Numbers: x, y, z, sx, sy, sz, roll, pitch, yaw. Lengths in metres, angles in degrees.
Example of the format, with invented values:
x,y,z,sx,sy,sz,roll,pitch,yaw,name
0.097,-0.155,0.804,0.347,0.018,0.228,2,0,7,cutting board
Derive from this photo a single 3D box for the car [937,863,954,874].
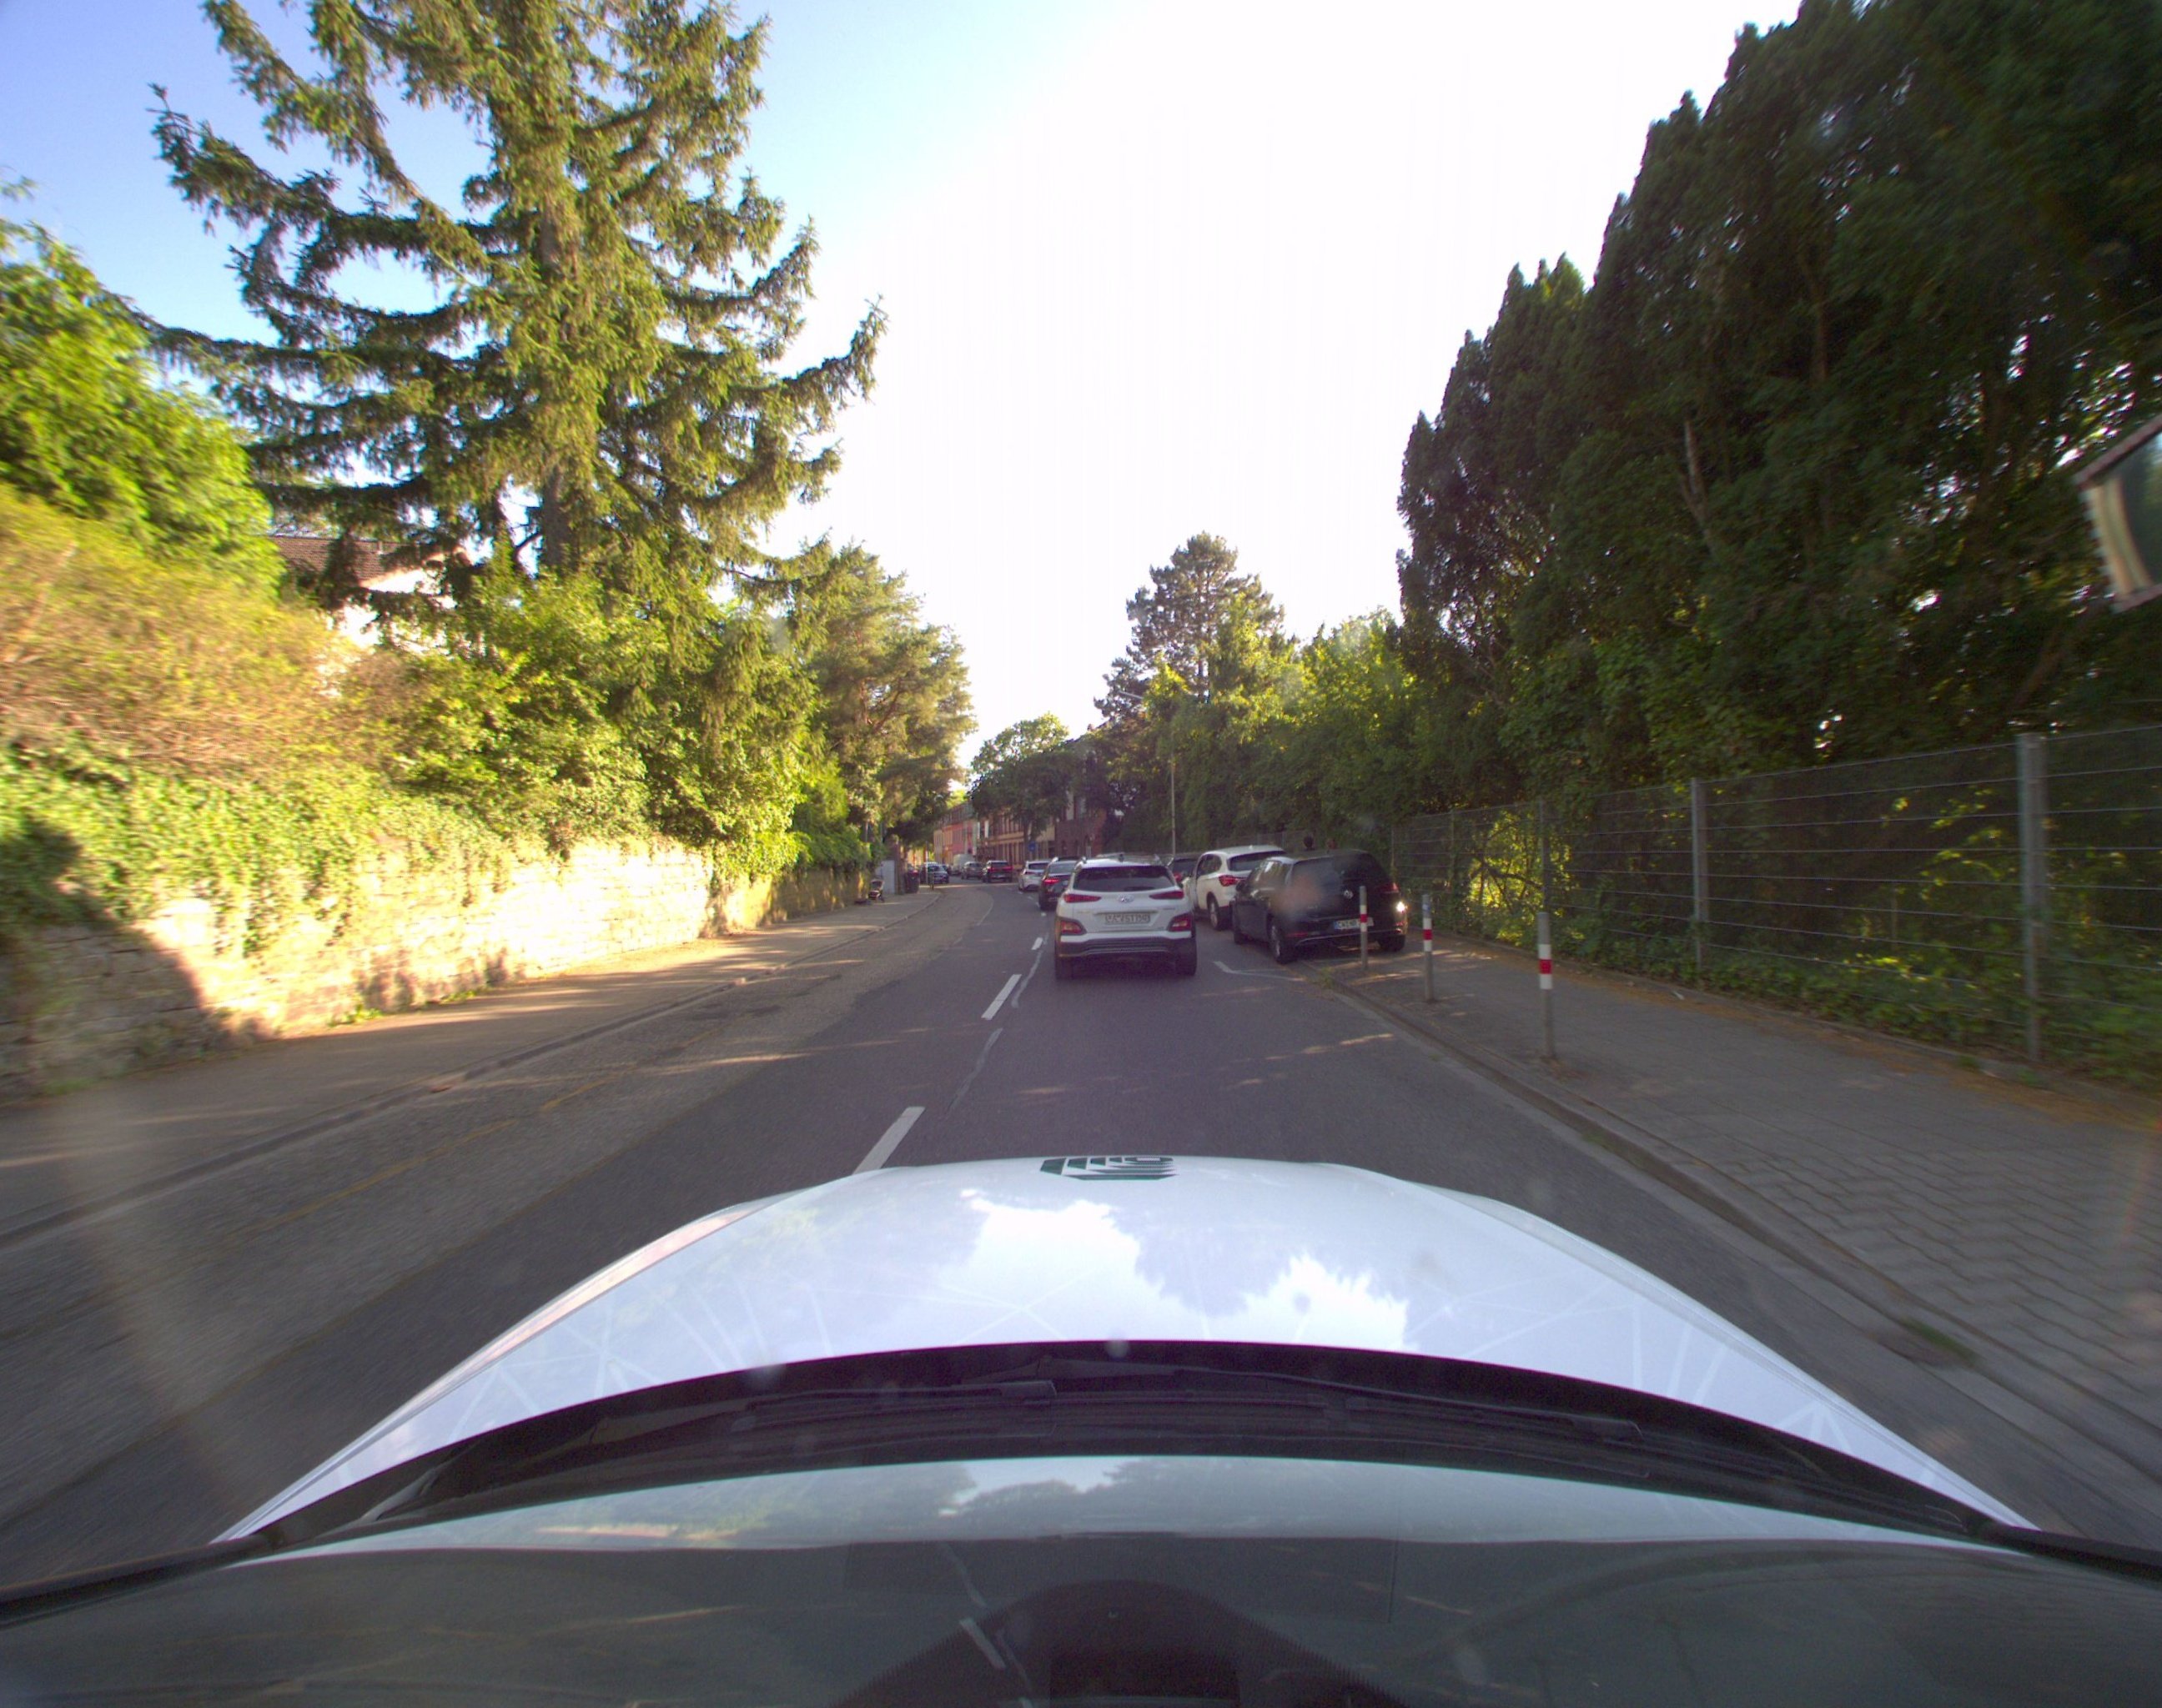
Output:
x,y,z,sx,sy,sz,roll,pitch,yaw,name
-15.846,1.703,95.214,1.530,1.260,3.343,-2,0,-16,car

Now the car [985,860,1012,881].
x,y,z,sx,sy,sz,roll,pitch,yaw,name
-6.070,1.200,59.738,1.594,1.461,3.086,-2,0,-12,car

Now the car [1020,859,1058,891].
x,y,z,sx,sy,sz,roll,pitch,yaw,name
-2.122,1.019,40.469,1.570,1.477,3.537,0,0,-8,car

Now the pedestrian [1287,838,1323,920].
x,y,z,sx,sy,sz,roll,pitch,yaw,name
4.503,0.495,16.387,0.501,1.606,0.491,-4,-1,2,pedestrian

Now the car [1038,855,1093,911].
x,y,z,sx,sy,sz,roll,pitch,yaw,name
-0.436,0.821,24.916,1.507,1.533,3.547,-2,0,0,car

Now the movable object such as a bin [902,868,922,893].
x,y,z,sx,sy,sz,roll,pitch,yaw,name
-8.352,1.314,40.267,0.789,1.189,0.773,0,-1,0,movable object such as a bin

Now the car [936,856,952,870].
x,y,z,sx,sy,sz,roll,pitch,yaw,name
-20.408,1.349,121.268,1.723,1.936,3.974,-2,0,-19,car

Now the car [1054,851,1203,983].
x,y,z,sx,sy,sz,roll,pitch,yaw,name
0.585,0.771,11.823,1.766,1.542,4.000,-1,0,0,car

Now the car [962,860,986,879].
x,y,z,sx,sy,sz,roll,pitch,yaw,name
-9.537,1.342,72.249,1.593,1.582,3.342,-2,0,-16,car

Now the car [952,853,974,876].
x,y,z,sx,sy,sz,roll,pitch,yaw,name
-14.037,1.243,96.654,1.933,2.583,4.368,-2,0,-17,car

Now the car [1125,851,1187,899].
x,y,z,sx,sy,sz,roll,pitch,yaw,name
2.564,0.694,28.611,1.590,1.489,3.598,-4,0,-3,car

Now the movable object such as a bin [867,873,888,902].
x,y,z,sx,sy,sz,roll,pitch,yaw,name
-7.534,1.234,30.195,0.493,1.011,1.113,0,-1,2,movable object such as a bin

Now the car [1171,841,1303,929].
x,y,z,sx,sy,sz,roll,pitch,yaw,name
3.188,0.616,17.418,1.592,1.565,3.991,-4,-1,-6,car

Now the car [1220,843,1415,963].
x,y,z,sx,sy,sz,roll,pitch,yaw,name
3.359,0.628,12.375,1.681,1.431,3.998,-4,0,-1,car

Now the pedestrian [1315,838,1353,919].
x,y,z,sx,sy,sz,roll,pitch,yaw,name
5.043,0.485,16.243,0.501,1.569,0.504,-4,-1,2,pedestrian

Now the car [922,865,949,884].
x,y,z,sx,sy,sz,roll,pitch,yaw,name
-10.993,1.503,61.310,1.596,1.317,3.790,-1,-1,-17,car

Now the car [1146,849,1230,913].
x,y,z,sx,sy,sz,roll,pitch,yaw,name
2.889,0.696,22.710,1.590,1.519,3.928,-4,-1,-3,car
